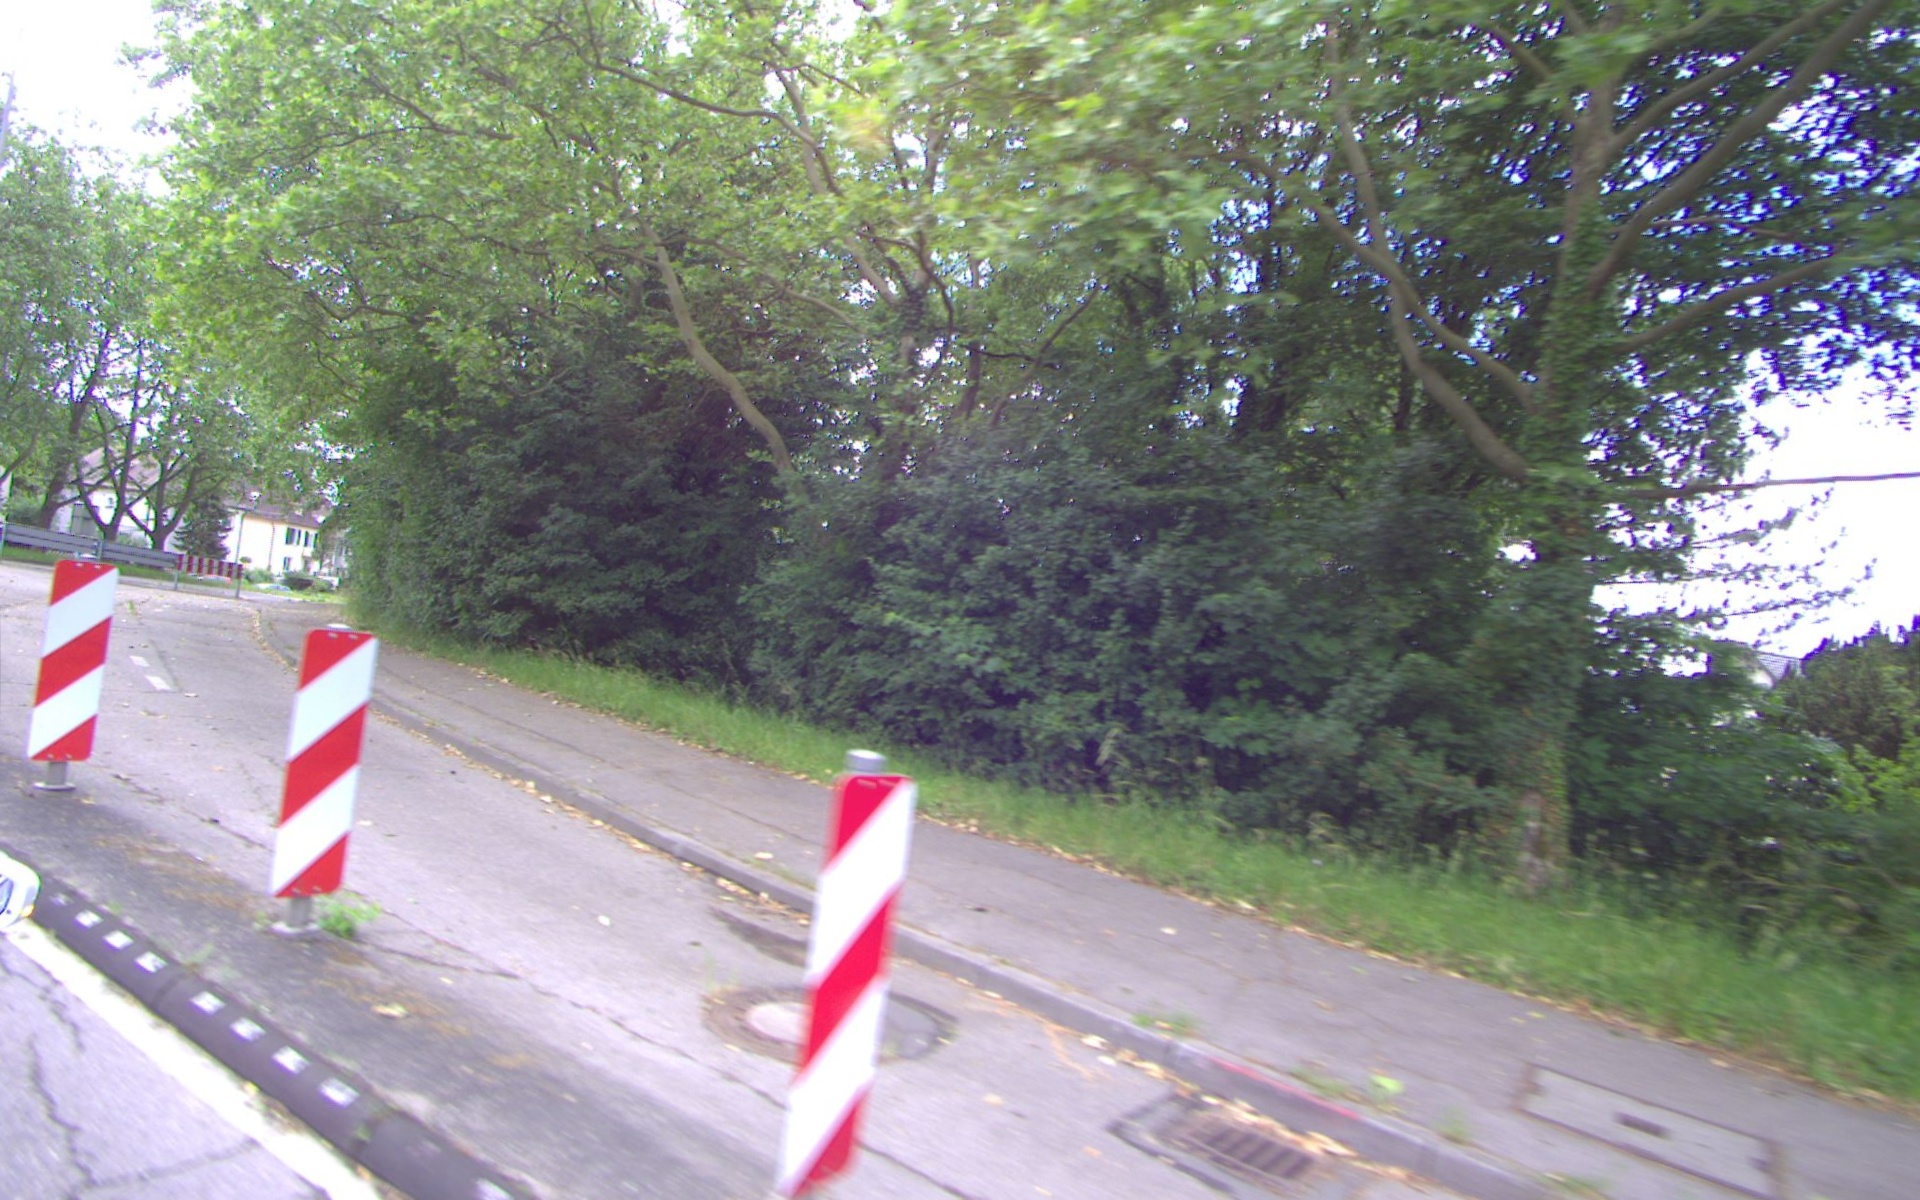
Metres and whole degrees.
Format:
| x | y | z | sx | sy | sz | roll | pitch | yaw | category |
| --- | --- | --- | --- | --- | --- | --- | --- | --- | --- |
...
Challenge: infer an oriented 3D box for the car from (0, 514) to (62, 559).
| x | y | z | sx | sy | sz | roll | pitch | yaw | category |
| --- | --- | --- | --- | --- | --- | --- | --- | --- | --- |
| -45.911 | -3.199 | 47.910 | 1.965 | 1.788 | 4.747 | 8 | -3 | -4 | car |
